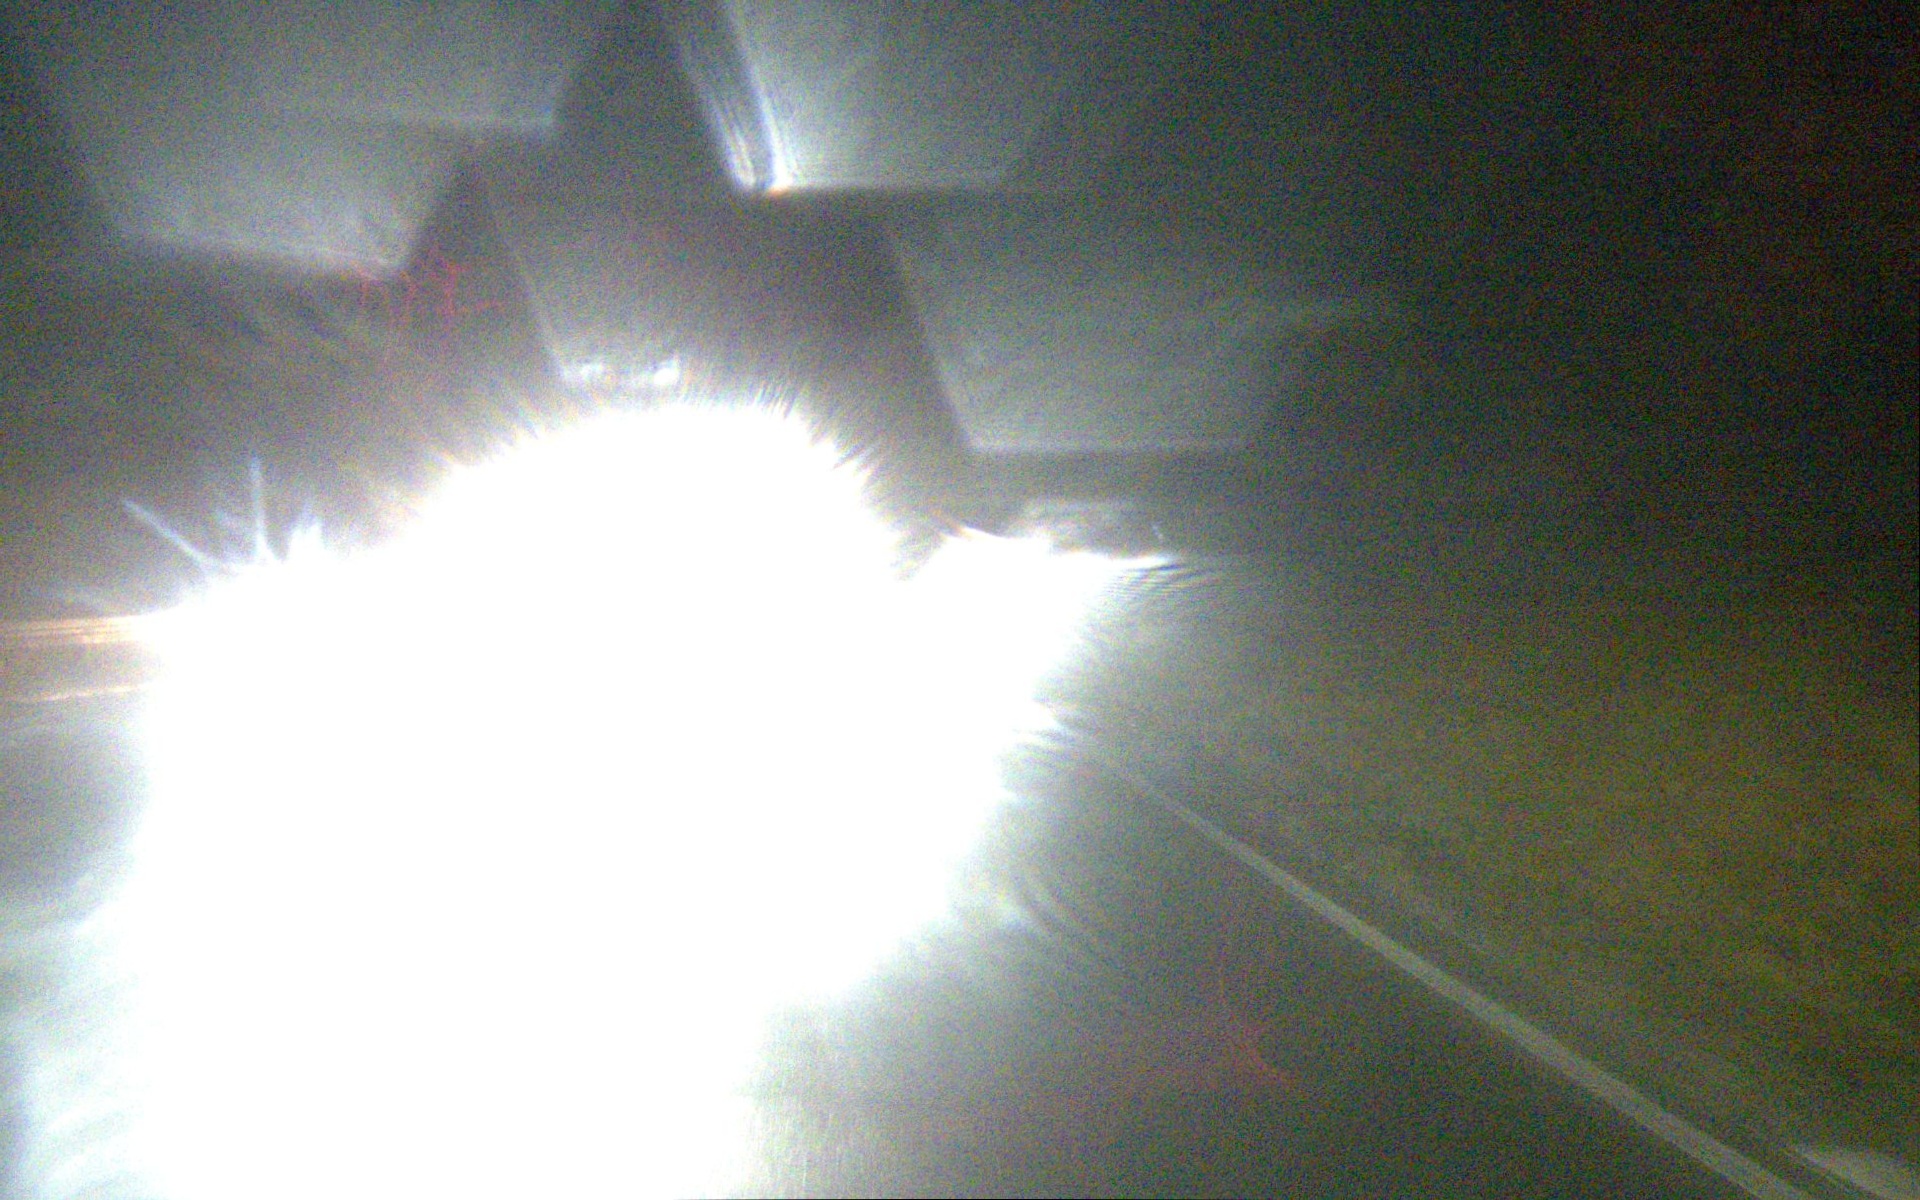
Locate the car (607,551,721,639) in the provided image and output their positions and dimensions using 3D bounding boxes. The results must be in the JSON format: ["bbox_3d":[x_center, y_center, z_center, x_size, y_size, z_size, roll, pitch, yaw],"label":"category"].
[{"bbox_3d":[-5.686,-0.115,66.468,1.923,1.610,4.085,1,1,-1],"label":"car"}]

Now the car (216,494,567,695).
[{"bbox_3d":[-4.787,-0.072,29.651,2.110,1.570,4.679,1,1,2],"label":"car"}]

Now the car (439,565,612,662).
[{"bbox_3d":[-6.554,0.169,52.338,1.804,1.378,4.771,1,1,3],"label":"car"}]
